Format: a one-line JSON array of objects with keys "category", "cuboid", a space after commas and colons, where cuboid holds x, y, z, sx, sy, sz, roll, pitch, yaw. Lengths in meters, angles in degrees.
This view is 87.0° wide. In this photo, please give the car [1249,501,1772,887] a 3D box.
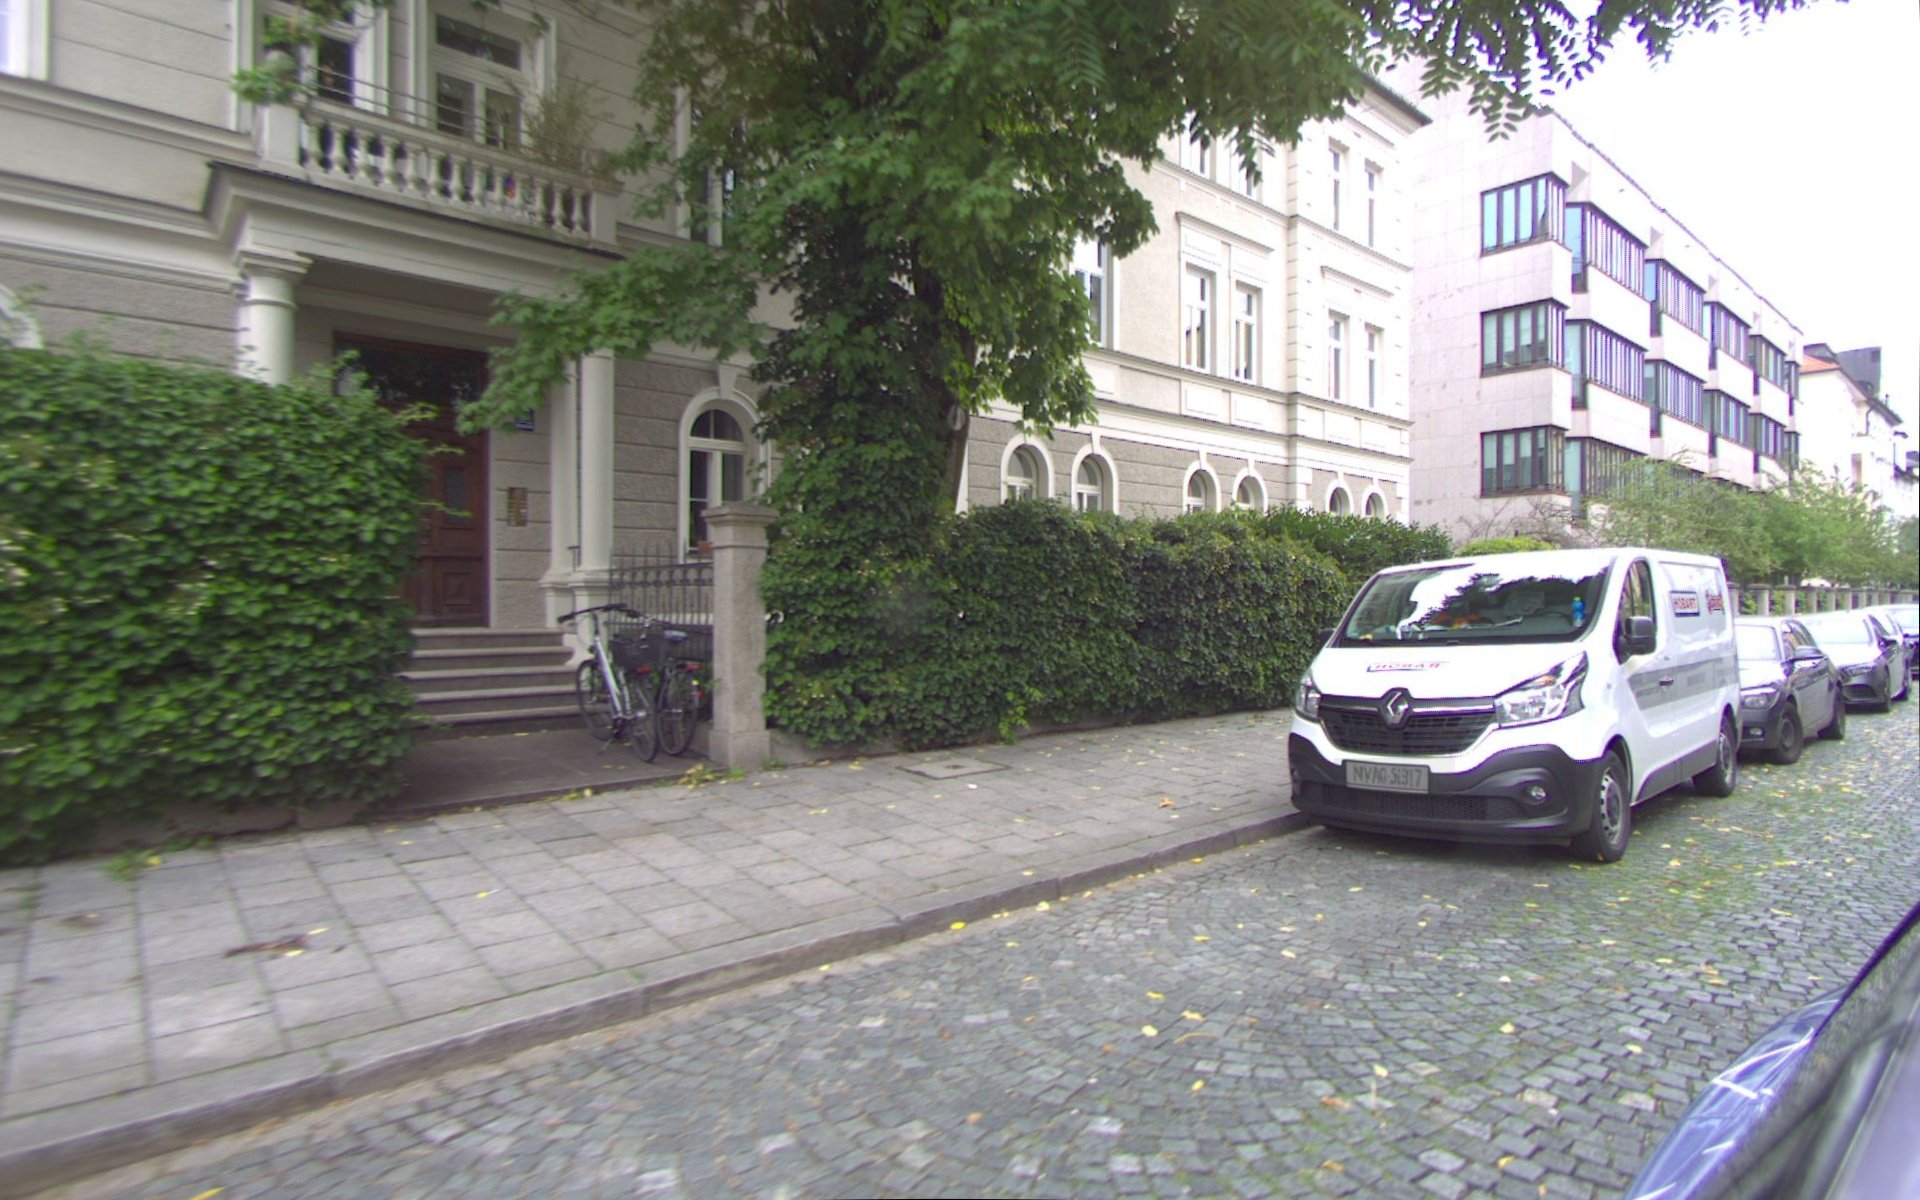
[{"category": "car", "cuboid": [4.377, 0.509, 7.567, 5.077, 1.953, 1.874, 0, -3, -43]}]

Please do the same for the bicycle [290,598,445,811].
[{"category": "bicycle", "cuboid": [-4.078, 0.620, 6.886, 0.423, 1.166, 2.039, 0, 2, -44]}]

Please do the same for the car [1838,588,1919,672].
[{"category": "car", "cuboid": [21.026, 0.619, 22.283, 4.576, 1.691, 1.875, 0, -2, -41]}]

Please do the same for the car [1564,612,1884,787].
[{"category": "car", "cuboid": [8.515, 0.944, 11.139, 4.343, 1.509, 1.840, 0, -2, -40]}]

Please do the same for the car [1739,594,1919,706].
[{"category": "car", "cuboid": [13.569, 0.704, 15.595, 4.195, 1.491, 1.715, 0, -3, -42]}]

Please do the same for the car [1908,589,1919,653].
[{"category": "car", "cuboid": [28.519, 0.542, 28.808, 4.668, 1.758, 1.874, 0, -3, -43]}]

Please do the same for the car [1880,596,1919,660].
[{"category": "car", "cuboid": [24.812, 0.675, 25.378, 4.533, 1.510, 1.876, 1, -3, -39]}]

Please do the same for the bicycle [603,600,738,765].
[{"category": "bicycle", "cuboid": [-2.370, 0.617, 8.206, 0.402, 1.166, 1.433, 0, 2, -44]}]

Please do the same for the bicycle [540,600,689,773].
[{"category": "bicycle", "cuboid": [-2.736, 0.617, 7.943, 0.497, 1.166, 1.494, 0, 2, -44]}]

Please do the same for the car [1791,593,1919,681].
[{"category": "car", "cuboid": [16.775, 0.655, 18.773, 1.694, 1.459, 3.996, -4, -3, 45]}]
